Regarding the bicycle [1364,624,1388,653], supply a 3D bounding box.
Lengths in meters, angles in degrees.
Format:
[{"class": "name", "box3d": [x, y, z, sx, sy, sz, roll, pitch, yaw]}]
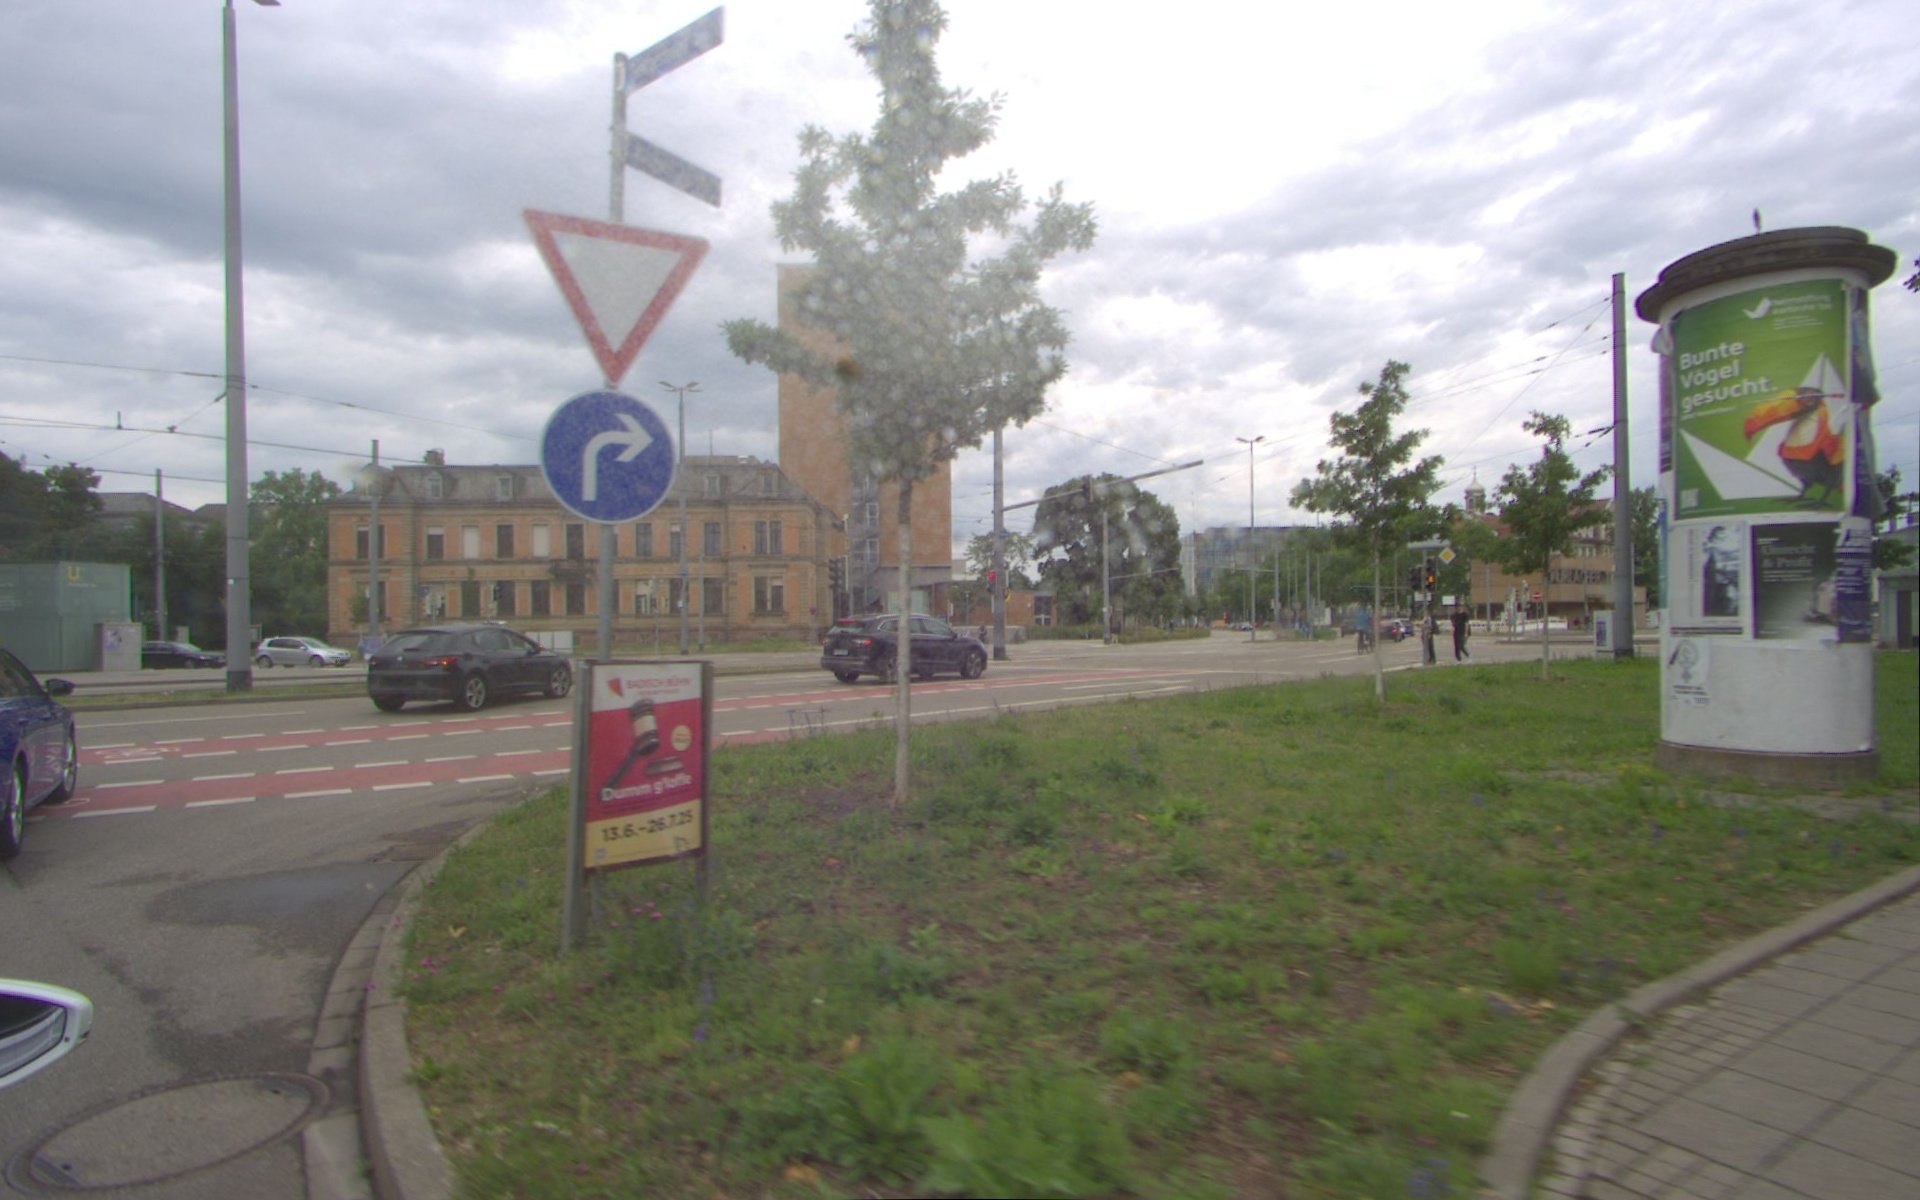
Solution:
[{"class": "bicycle", "box3d": [17.977, 1.653, 43.287, 0.879, 1.193, 2.297, -1, -1, 21]}]

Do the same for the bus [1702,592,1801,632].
[{"class": "bus", "box3d": [66.318, 0.987, 83.807, 11.382, 3.163, 2.953, 0, -1, -33]}]

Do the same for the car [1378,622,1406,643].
[{"class": "car", "box3d": [32.710, 2.445, 75.753, 1.753, 1.483, 3.986, -1, -1, 26]}]

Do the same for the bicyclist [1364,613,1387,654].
[{"class": "bicyclist", "box3d": [17.974, 1.439, 43.310, 0.870, 1.754, 0.892, -1, 0, 22]}]

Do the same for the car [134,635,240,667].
[{"class": "car", "box3d": [-37.261, 2.443, 48.297, 4.063, 1.467, 1.697, -1, -1, 8]}]

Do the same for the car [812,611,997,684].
[{"class": "car", "box3d": [-1.250, 1.081, 24.167, 1.764, 1.617, 4.469, -1, -1, 44]}]

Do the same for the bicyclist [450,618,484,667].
[{"class": "bicyclist", "box3d": [-18.767, 1.609, 38.119, 0.808, 1.822, 1.019, -2, 0, -45]}]

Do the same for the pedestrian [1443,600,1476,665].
[{"class": "pedestrian", "box3d": [14.712, 0.946, 29.513, 0.976, 1.868, 0.532, 0, -1, -43]}]

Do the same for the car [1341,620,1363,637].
[{"class": "car", "box3d": [35.451, 2.592, 90.641, 1.751, 1.483, 3.991, -1, -1, 21]}]

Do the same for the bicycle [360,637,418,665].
[{"class": "bicycle", "box3d": [-26.124, 2.333, 45.827, 2.155, 1.223, 0.858, -1, -1, 3]}]

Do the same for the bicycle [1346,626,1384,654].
[{"class": "bicycle", "box3d": [16.659, 1.632, 41.185, 0.857, 1.119, 2.286, -1, -1, 38]}]

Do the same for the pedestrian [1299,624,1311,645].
[{"class": "pedestrian", "box3d": [25.429, 2.522, 73.761, 0.719, 1.562, 0.415, -1, -1, 31]}]

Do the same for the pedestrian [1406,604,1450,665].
[{"class": "pedestrian", "box3d": [15.169, 1.114, 32.469, 1.083, 1.932, 0.736, 0, -1, 1]}]

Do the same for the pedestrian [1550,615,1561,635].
[{"class": "pedestrian", "box3d": [57.514, 2.407, 96.732, 0.616, 1.943, 0.705, 0, -1, -39]}]

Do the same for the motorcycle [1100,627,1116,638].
[{"class": "motorcycle", "box3d": [15.058, 3.313, 101.719, 1.722, 1.125, 0.508, 0, -1, -34]}]

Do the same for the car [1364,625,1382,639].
[{"class": "car", "box3d": [45.445, 3.496, 110.308, 1.751, 1.483, 3.991, -1, -1, 21]}]

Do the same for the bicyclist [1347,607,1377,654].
[{"class": "bicyclist", "box3d": [16.390, 1.238, 40.839, 0.863, 1.875, 1.040, -1, -1, 39]}]

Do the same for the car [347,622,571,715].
[{"class": "car", "box3d": [-8.743, 1.138, 17.850, 1.677, 1.467, 3.811, -1, -1, 9]}]

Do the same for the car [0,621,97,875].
[{"class": "car", "box3d": [-7.526, 0.932, 7.030, 1.763, 1.507, 4.436, 1, -2, -35]}]

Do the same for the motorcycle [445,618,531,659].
[{"class": "motorcycle", "box3d": [-24.268, 1.993, 51.568, 3.615, 2.040, 1.696, -1, -1, 1]}]

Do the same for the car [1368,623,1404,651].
[{"class": "car", "box3d": [27.634, 2.420, 65.061, 1.966, 1.705, 3.993, -1, -3, 21]}]

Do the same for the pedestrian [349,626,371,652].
[{"class": "pedestrian", "box3d": [-40.657, 2.645, 67.870, 1.106, 1.786, 0.758, 0, -1, -9]}]

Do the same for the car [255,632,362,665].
[{"class": "car", "box3d": [-31.231, 2.313, 48.062, 4.080, 1.472, 1.762, -1, -1, 3]}]

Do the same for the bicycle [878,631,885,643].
[{"class": "bicycle", "box3d": [-7.952, 3.720, 101.097, 0.561, 1.120, 1.428, -1, -1, 0]}]

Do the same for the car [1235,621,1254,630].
[{"class": "car", "box3d": [48.308, 4.351, 170.322, 1.747, 1.483, 4.000, 0, -1, -5]}]

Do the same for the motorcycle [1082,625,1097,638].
[{"class": "motorcycle", "box3d": [13.082, 3.204, 100.968, 1.444, 1.284, 0.512, -1, -1, -3]}]

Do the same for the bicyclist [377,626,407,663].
[{"class": "bicyclist", "box3d": [-25.985, 2.031, 45.829, 0.900, 1.644, 0.855, -1, -1, 3]}]

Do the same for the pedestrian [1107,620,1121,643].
[{"class": "pedestrian", "box3d": [12.911, 2.623, 83.867, 1.012, 1.959, 0.700, -1, -1, 18]}]
